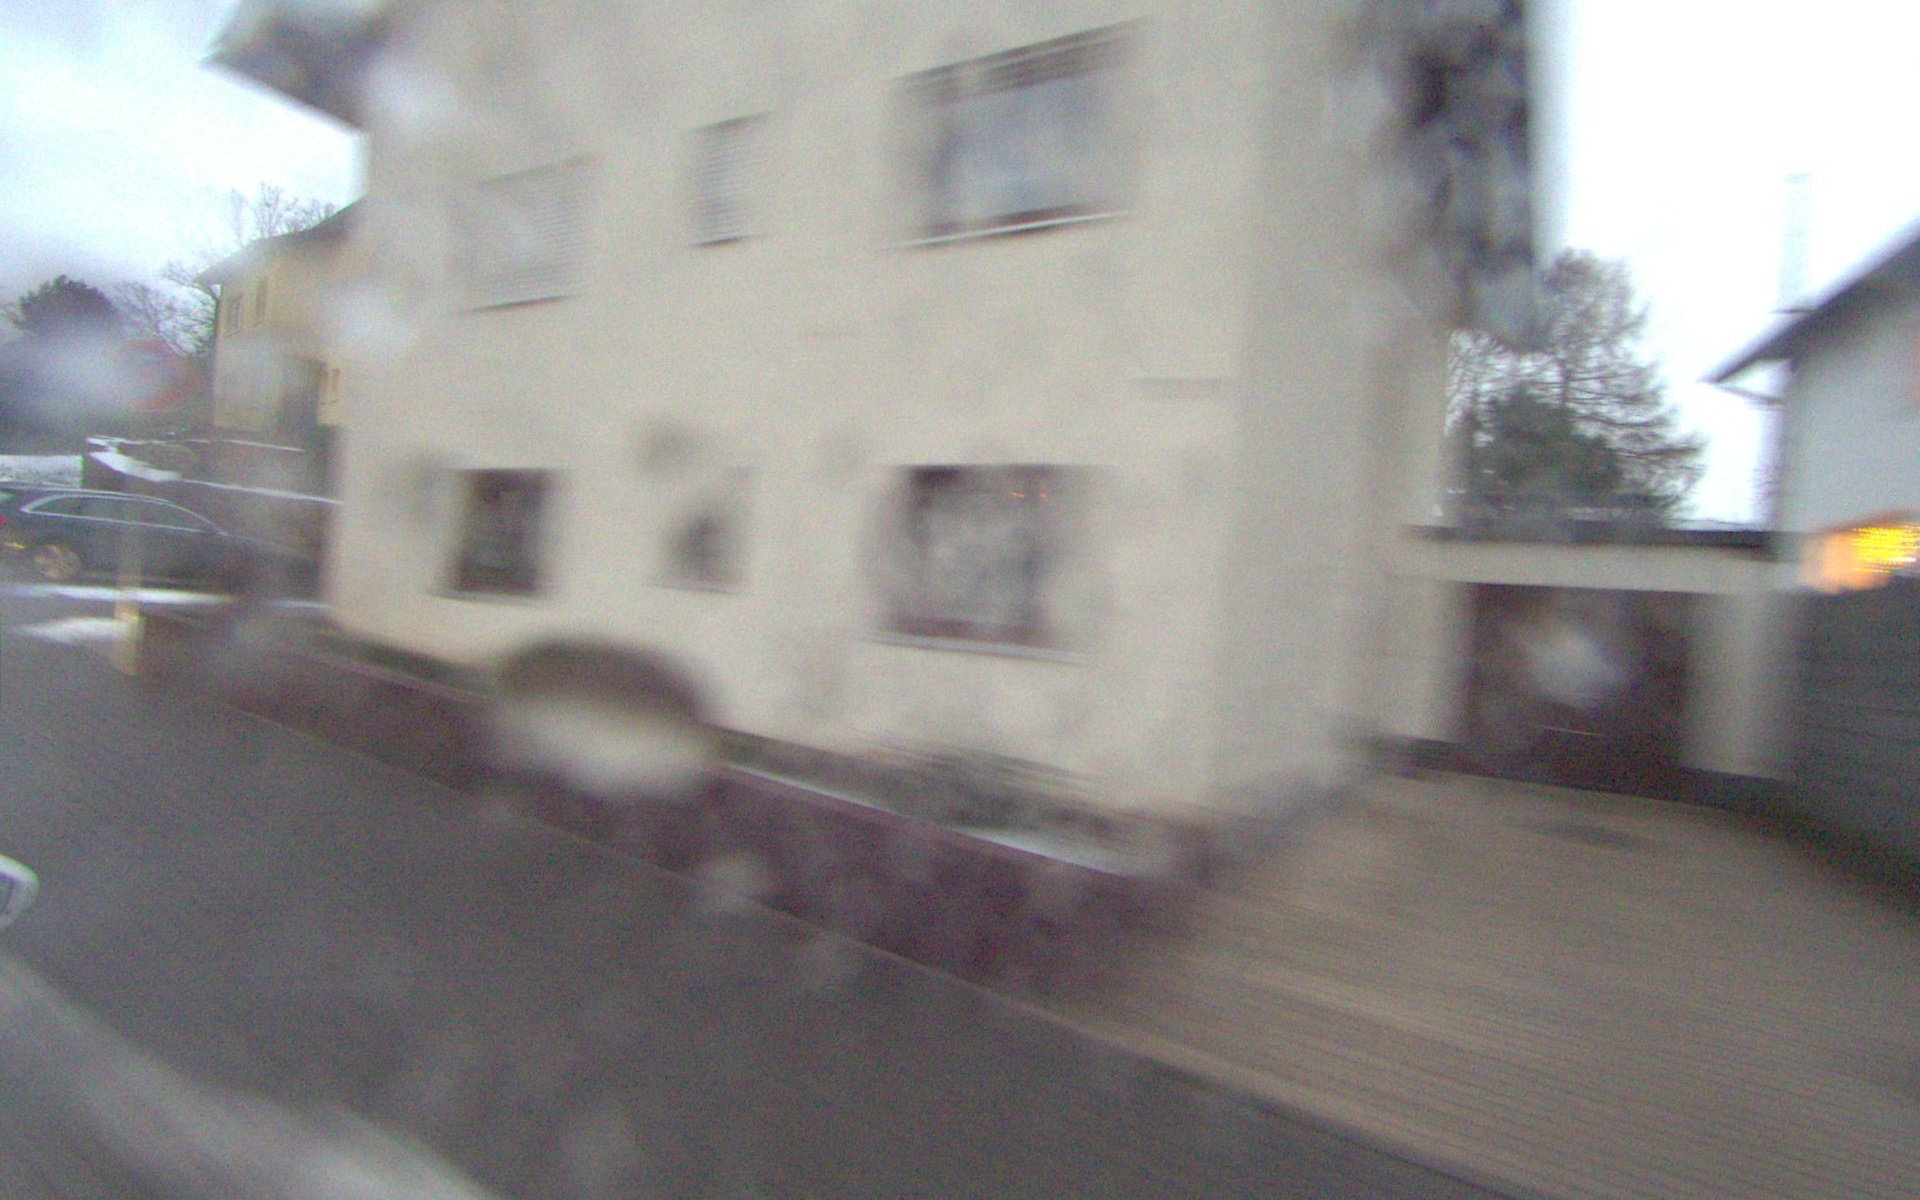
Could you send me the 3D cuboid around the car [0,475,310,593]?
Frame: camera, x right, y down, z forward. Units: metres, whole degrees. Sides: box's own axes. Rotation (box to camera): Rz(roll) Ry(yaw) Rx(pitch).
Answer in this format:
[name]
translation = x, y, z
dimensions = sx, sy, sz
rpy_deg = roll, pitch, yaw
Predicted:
[car]
translation = -13.617, -1.071, 16.510
dimensions = 1.969, 1.462, 4.501
rpy_deg = 8, 2, 36
